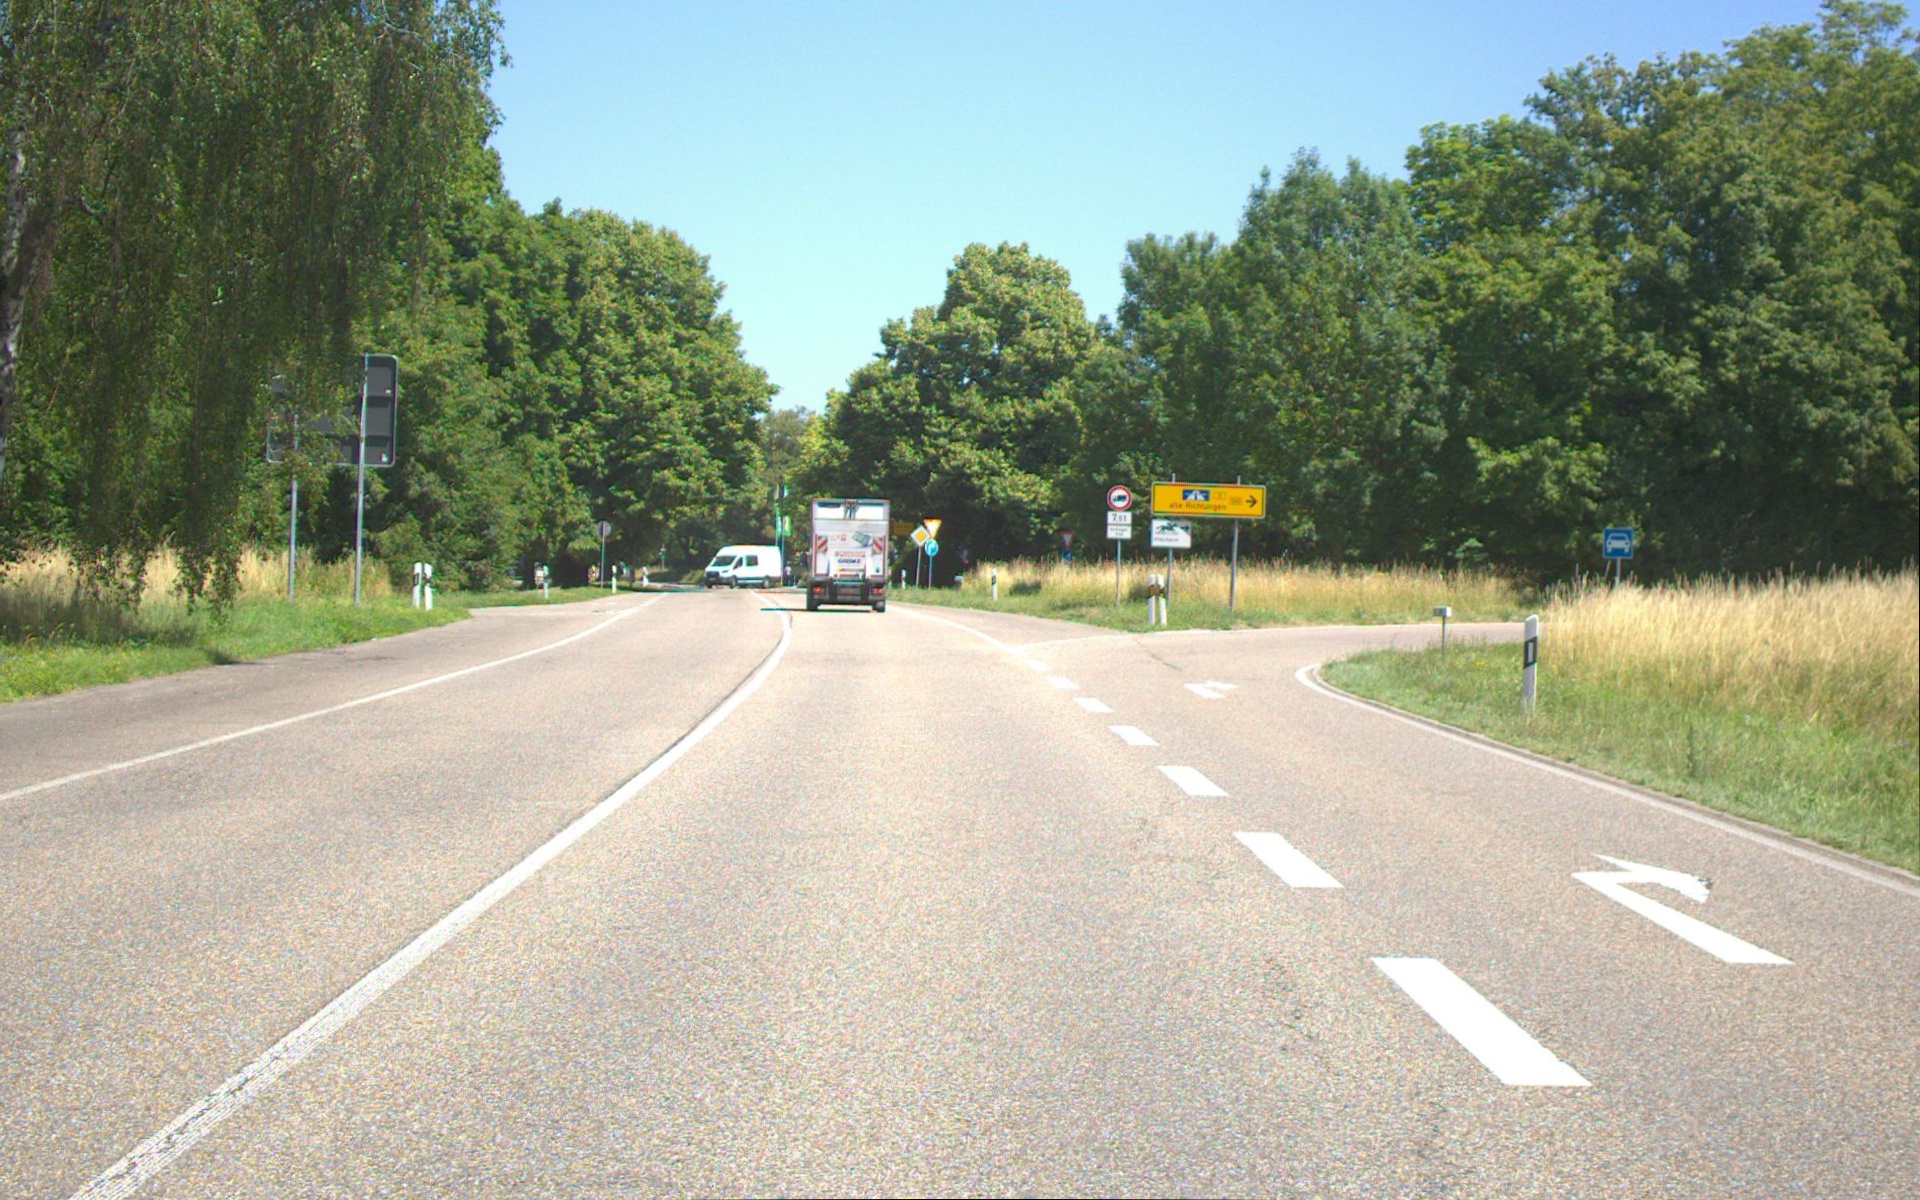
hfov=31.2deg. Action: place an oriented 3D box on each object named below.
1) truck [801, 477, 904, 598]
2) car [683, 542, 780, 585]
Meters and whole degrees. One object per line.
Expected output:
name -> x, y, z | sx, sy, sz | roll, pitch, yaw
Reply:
truck -> -2.852, -1.686, 92.535 | 2.533, 3.124, 5.361 | 1, 1, 0
car -> -14.698, -2.335, 221.528 | 2.078, 2.618, 6.767 | 1, 0, 41
